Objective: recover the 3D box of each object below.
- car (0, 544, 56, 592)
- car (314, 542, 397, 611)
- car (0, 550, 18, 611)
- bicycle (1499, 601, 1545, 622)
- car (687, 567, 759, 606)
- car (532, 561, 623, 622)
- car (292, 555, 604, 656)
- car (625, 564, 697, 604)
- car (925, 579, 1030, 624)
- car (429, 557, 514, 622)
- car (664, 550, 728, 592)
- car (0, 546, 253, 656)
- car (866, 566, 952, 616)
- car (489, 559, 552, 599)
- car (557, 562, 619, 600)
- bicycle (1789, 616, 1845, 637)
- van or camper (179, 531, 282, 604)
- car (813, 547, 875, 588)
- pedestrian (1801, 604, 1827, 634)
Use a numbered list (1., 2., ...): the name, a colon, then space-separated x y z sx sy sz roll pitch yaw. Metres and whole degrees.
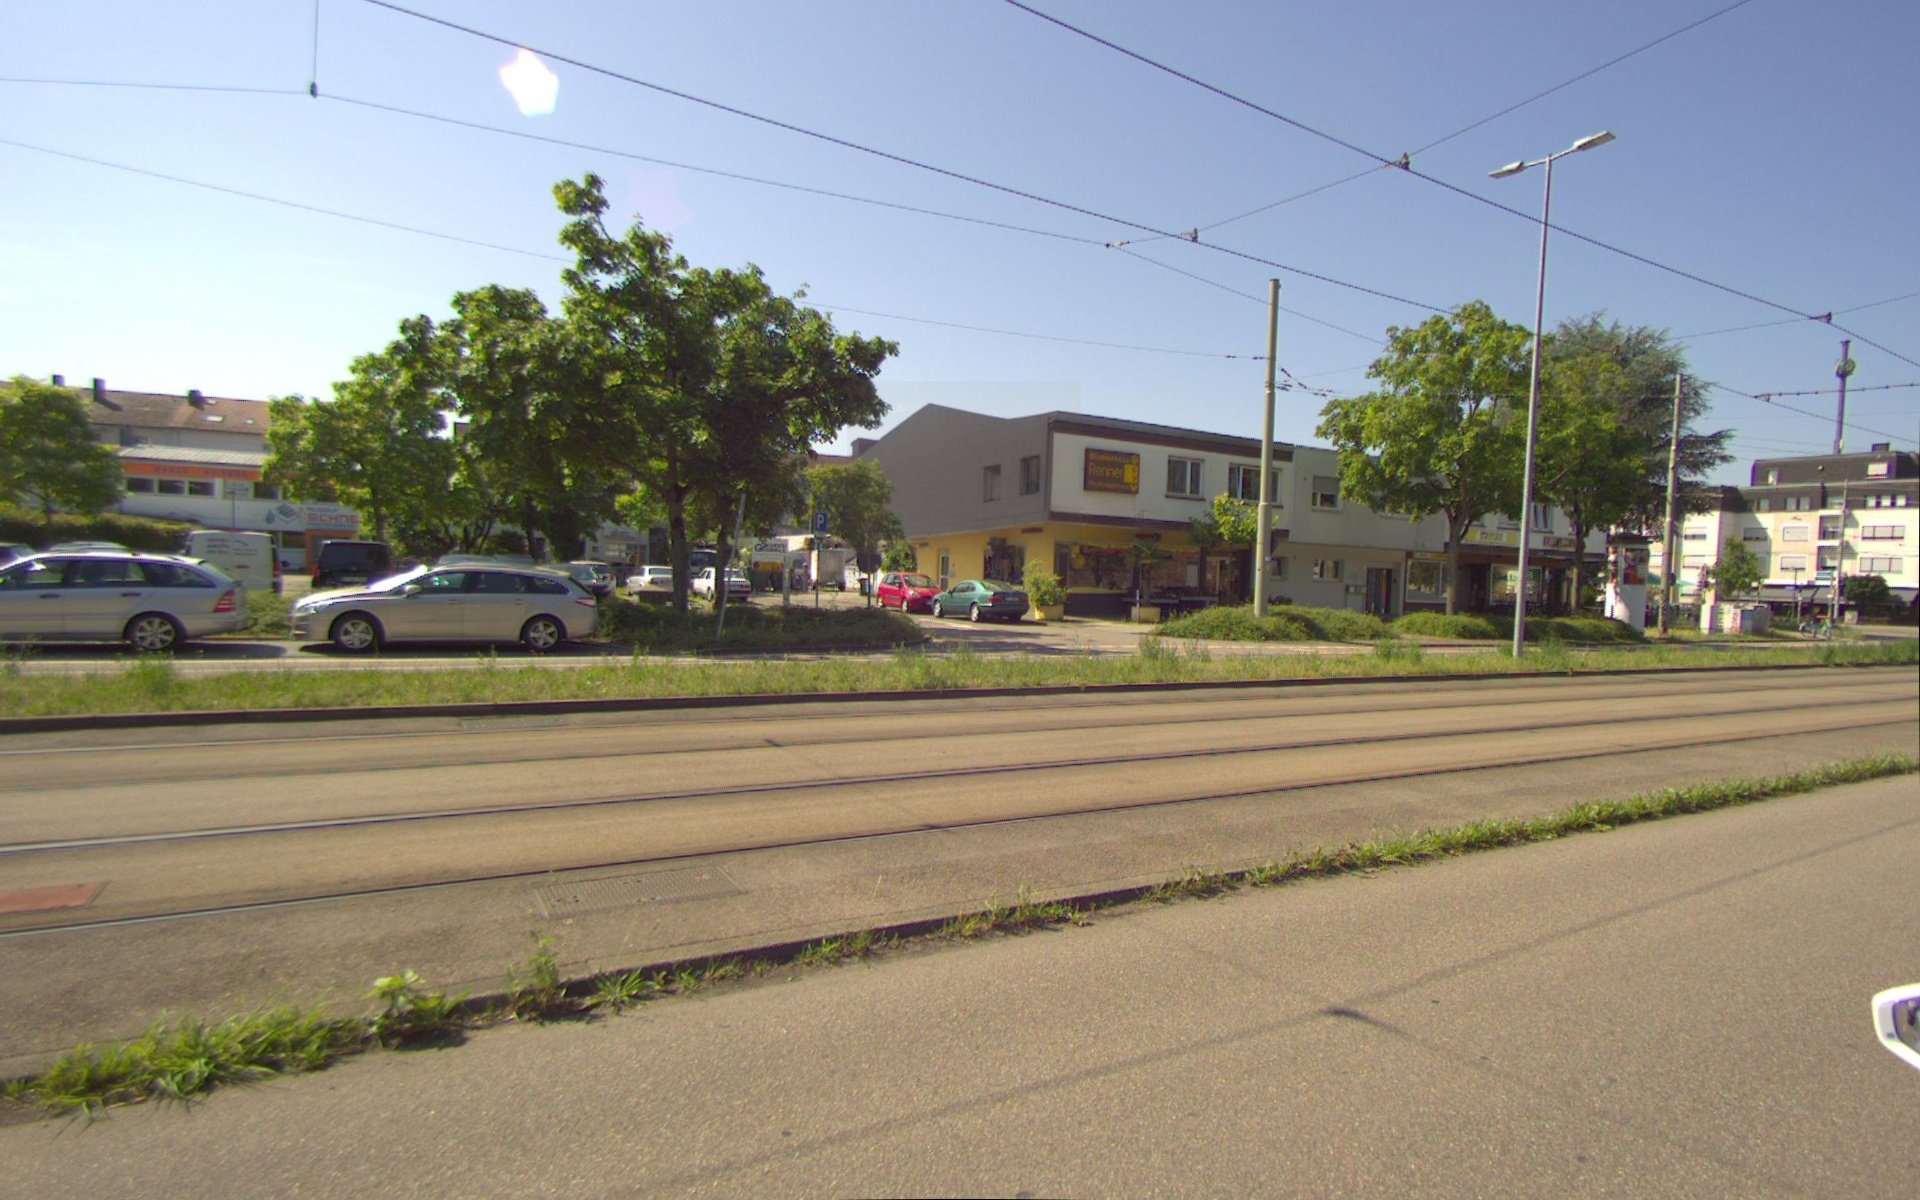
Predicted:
1. car: -30.053 -1.031 31.739 1.515 1.444 3.825 1 2 -31
2. car: -15.303 -0.594 25.436 1.645 1.584 3.965 1 1 -32
3. car: -22.192 -0.445 22.079 1.473 1.389 3.963 1 1 -33
4. bicycle: 26.696 0.548 47.682 2.362 0.900 0.779 1 1 -30
5. car: -10.181 -0.599 42.987 1.889 1.554 3.966 1 2 -31
6. car: -10.730 -0.259 28.031 1.645 1.584 3.965 1 1 -32
7. car: -8.635 0.075 17.245 4.561 1.510 1.597 1 4 -29
8. car: -12.612 -0.687 42.160 1.890 1.554 3.964 0 2 -32
9. car: 0.520 0.021 33.898 1.677 1.363 4.128 1 2 -29
10. car: -13.024 -0.309 26.649 1.645 1.584 3.965 1 1 -32
11. car: -14.767 -1.616 55.941 2.077 2.203 4.901 1 1 -32
12. car: -13.036 0.001 14.673 4.300 1.510 1.285 1 2 -31
13. car: -2.029 -0.380 38.737 1.677 1.759 4.128 1 2 -29
14. car: -17.016 -0.842 38.762 1.658 1.444 3.949 0 2 -32
15. car: -15.254 -0.795 41.060 1.657 1.444 3.951 1 2 -31
16. bicycle: 44.261 1.364 51.895 2.133 0.934 0.553 2 1 14
17. van or camper: -17.400 -0.766 24.069 1.858 1.584 3.960 1 1 -35
18. car: -6.870 -1.909 59.549 3.373 2.307 1.476 1 2 -20
19. pedestrian: 44.553 0.989 52.405 0.799 1.507 0.566 2 1 14
